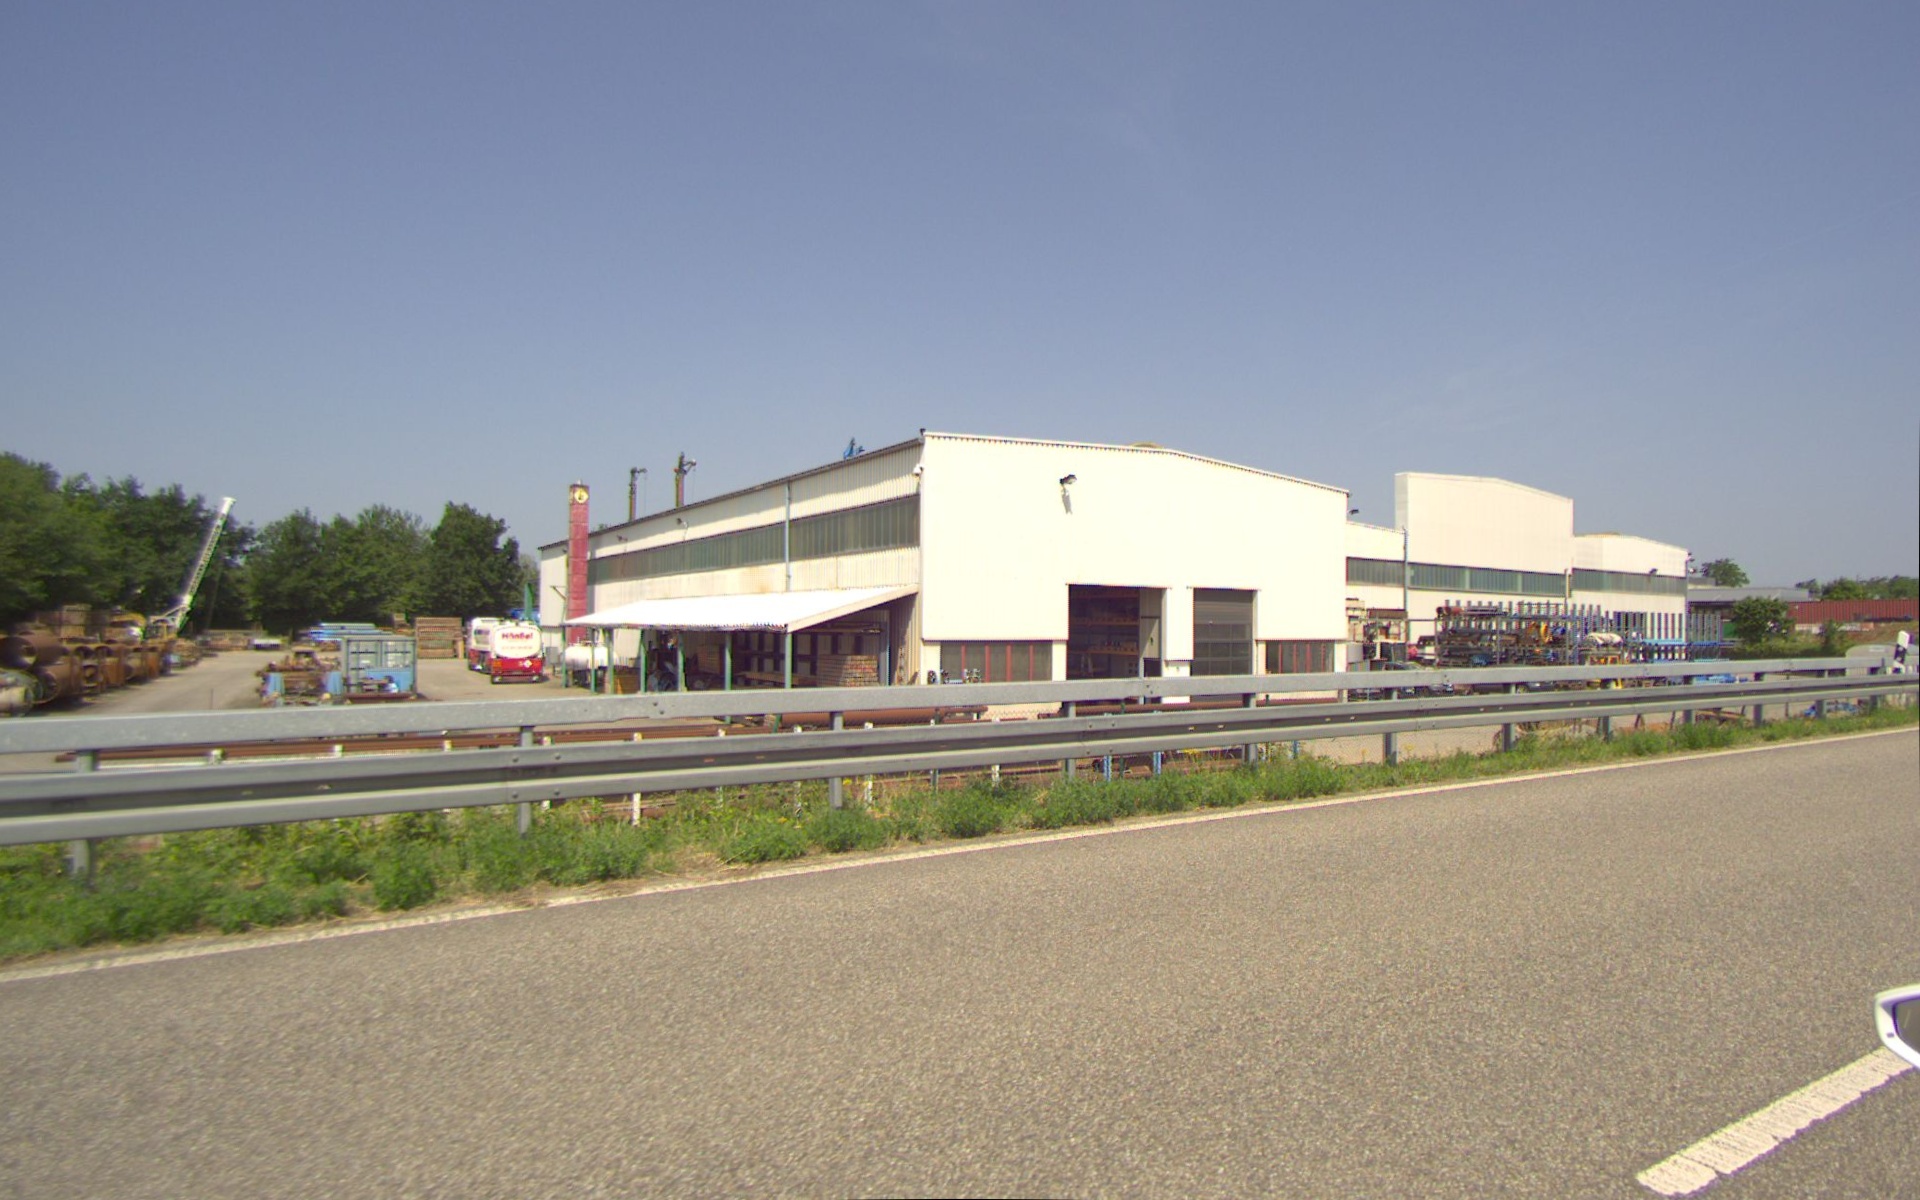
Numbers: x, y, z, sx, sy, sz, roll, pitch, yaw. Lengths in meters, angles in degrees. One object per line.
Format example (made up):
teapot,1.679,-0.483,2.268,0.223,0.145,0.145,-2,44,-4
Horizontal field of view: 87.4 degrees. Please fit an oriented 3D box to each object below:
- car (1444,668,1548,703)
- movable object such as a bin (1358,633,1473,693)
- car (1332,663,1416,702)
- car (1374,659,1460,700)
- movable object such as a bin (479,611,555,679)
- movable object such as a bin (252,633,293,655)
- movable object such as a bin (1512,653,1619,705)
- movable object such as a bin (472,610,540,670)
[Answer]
car,25.333,4.022,47.598,1.708,1.540,3.962,2,-4,-35
movable object such as a bin,21.962,3.079,48.569,2.115,2.714,4.510,2,-6,-38
car,18.738,3.759,45.582,1.452,1.696,3.235,2,-6,-34
car,20.857,3.646,45.957,1.657,1.796,3.114,2,-6,-33
movable object such as a bin,-24.342,2.392,55.028,3.151,3.425,6.074,1,-1,-30
movable object such as a bin,-63.610,4.083,92.945,2.907,2.040,1.377,1,-3,-27
movable object such as a bin,28.251,3.643,46.936,1.835,2.040,3.834,2,0,-36
movable object such as a bin,-27.950,2.363,61.665,3.151,3.425,7.085,1,-1,-30
